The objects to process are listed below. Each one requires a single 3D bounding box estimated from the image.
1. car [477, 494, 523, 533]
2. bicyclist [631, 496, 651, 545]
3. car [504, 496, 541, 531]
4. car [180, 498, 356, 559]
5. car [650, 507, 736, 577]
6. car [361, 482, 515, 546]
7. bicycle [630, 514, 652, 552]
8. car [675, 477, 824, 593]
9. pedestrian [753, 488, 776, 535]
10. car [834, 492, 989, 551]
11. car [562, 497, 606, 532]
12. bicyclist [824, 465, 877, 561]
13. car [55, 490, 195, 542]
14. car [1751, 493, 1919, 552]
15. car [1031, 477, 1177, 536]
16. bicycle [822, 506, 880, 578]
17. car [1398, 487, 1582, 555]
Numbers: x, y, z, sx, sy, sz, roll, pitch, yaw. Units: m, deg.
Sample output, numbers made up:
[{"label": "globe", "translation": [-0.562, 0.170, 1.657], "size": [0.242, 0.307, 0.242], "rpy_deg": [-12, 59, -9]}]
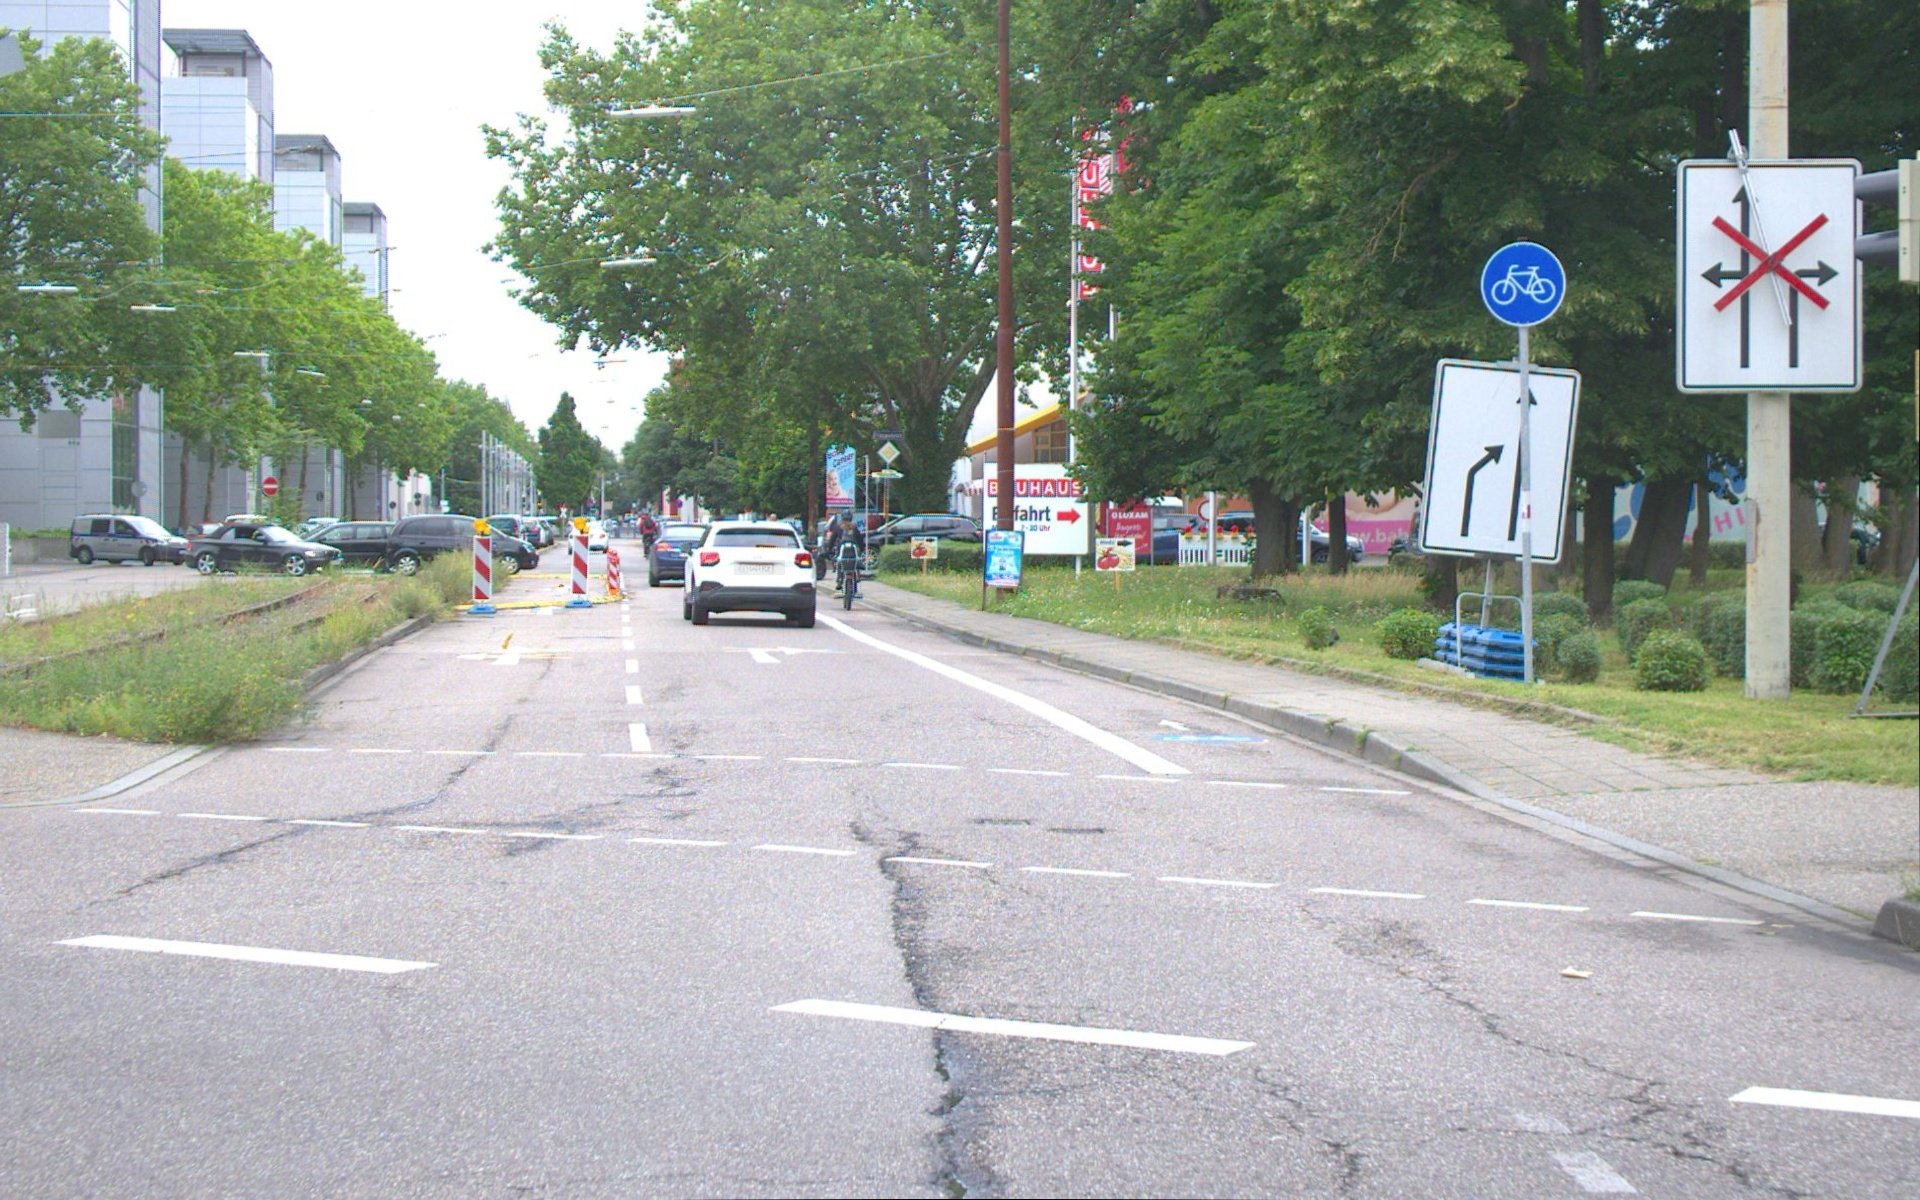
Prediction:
[{"label": "car", "translation": [-19.428, -3.678, 145.328], "size": [1.876, 1.626, 4.001], "rpy_deg": [-1, 2, -7]}, {"label": "bicyclist", "translation": [-11.982, -2.971, 129.028], "size": [0.670, 1.809, 0.760], "rpy_deg": [1, 2, -9]}, {"label": "car", "translation": [-22.805, -4.517, 179.379], "size": [1.876, 1.757, 4.001], "rpy_deg": [-1, 2, -7]}, {"label": "car", "translation": [-18.091, -1.861, 89.948], "size": [4.120, 1.470, 1.824], "rpy_deg": [-1, 0, 17]}, {"label": "car", "translation": [-6.169, -1.350, 79.205], "size": [1.683, 1.508, 3.707], "rpy_deg": [1, 2, -9]}, {"label": "car", "translation": [-13.759, -2.265, 90.788], "size": [3.882, 1.550, 1.826], "rpy_deg": [2, 1, -6]}, {"label": "bicycle", "translation": [-11.988, -2.523, 129.030], "size": [0.670, 1.389, 2.167], "rpy_deg": [1, 2, -9]}, {"label": "car", "translation": [-3.129, -0.978, 50.489], "size": [1.823, 1.594, 3.777], "rpy_deg": [1, 2, -9]}, {"label": "pedestrian", "translation": [-7.134, -3.229, 125.417], "size": [0.760, 1.699, 0.682], "rpy_deg": [-1, 2, -10]}, {"label": "car", "translation": [-1.414, -2.264, 99.156], "size": [4.313, 1.671, 1.993], "rpy_deg": [0, 1, -5]}, {"label": "car", "translation": [-17.068, -3.896, 156.057], "size": [1.795, 1.508, 3.707], "rpy_deg": [1, 2, -9]}, {"label": "bicyclist", "translation": [-1.893, -1.503, 59.363], "size": [0.816, 1.624, 1.235], "rpy_deg": [0, 1, -6]}, {"label": "car", "translation": [-28.973, -2.932, 119.408], "size": [4.412, 1.777, 1.826], "rpy_deg": [0, 1, -1]}, {"label": "car", "translation": [24.232, -2.128, 94.230], "size": [4.552, 1.566, 2.074], "rpy_deg": [0, 1, -6]}, {"label": "car", "translation": [4.185, -2.725, 100.245], "size": [4.213, 1.671, 1.993], "rpy_deg": [0, 1, 2]}, {"label": "bicycle", "translation": [-1.889, -1.014, 59.378], "size": [0.816, 1.208, 2.684], "rpy_deg": [0, 1, -6]}, {"label": "car", "translation": [14.395, -2.149, 93.501], "size": [4.552, 1.784, 2.074], "rpy_deg": [0, 2, -6]}]
